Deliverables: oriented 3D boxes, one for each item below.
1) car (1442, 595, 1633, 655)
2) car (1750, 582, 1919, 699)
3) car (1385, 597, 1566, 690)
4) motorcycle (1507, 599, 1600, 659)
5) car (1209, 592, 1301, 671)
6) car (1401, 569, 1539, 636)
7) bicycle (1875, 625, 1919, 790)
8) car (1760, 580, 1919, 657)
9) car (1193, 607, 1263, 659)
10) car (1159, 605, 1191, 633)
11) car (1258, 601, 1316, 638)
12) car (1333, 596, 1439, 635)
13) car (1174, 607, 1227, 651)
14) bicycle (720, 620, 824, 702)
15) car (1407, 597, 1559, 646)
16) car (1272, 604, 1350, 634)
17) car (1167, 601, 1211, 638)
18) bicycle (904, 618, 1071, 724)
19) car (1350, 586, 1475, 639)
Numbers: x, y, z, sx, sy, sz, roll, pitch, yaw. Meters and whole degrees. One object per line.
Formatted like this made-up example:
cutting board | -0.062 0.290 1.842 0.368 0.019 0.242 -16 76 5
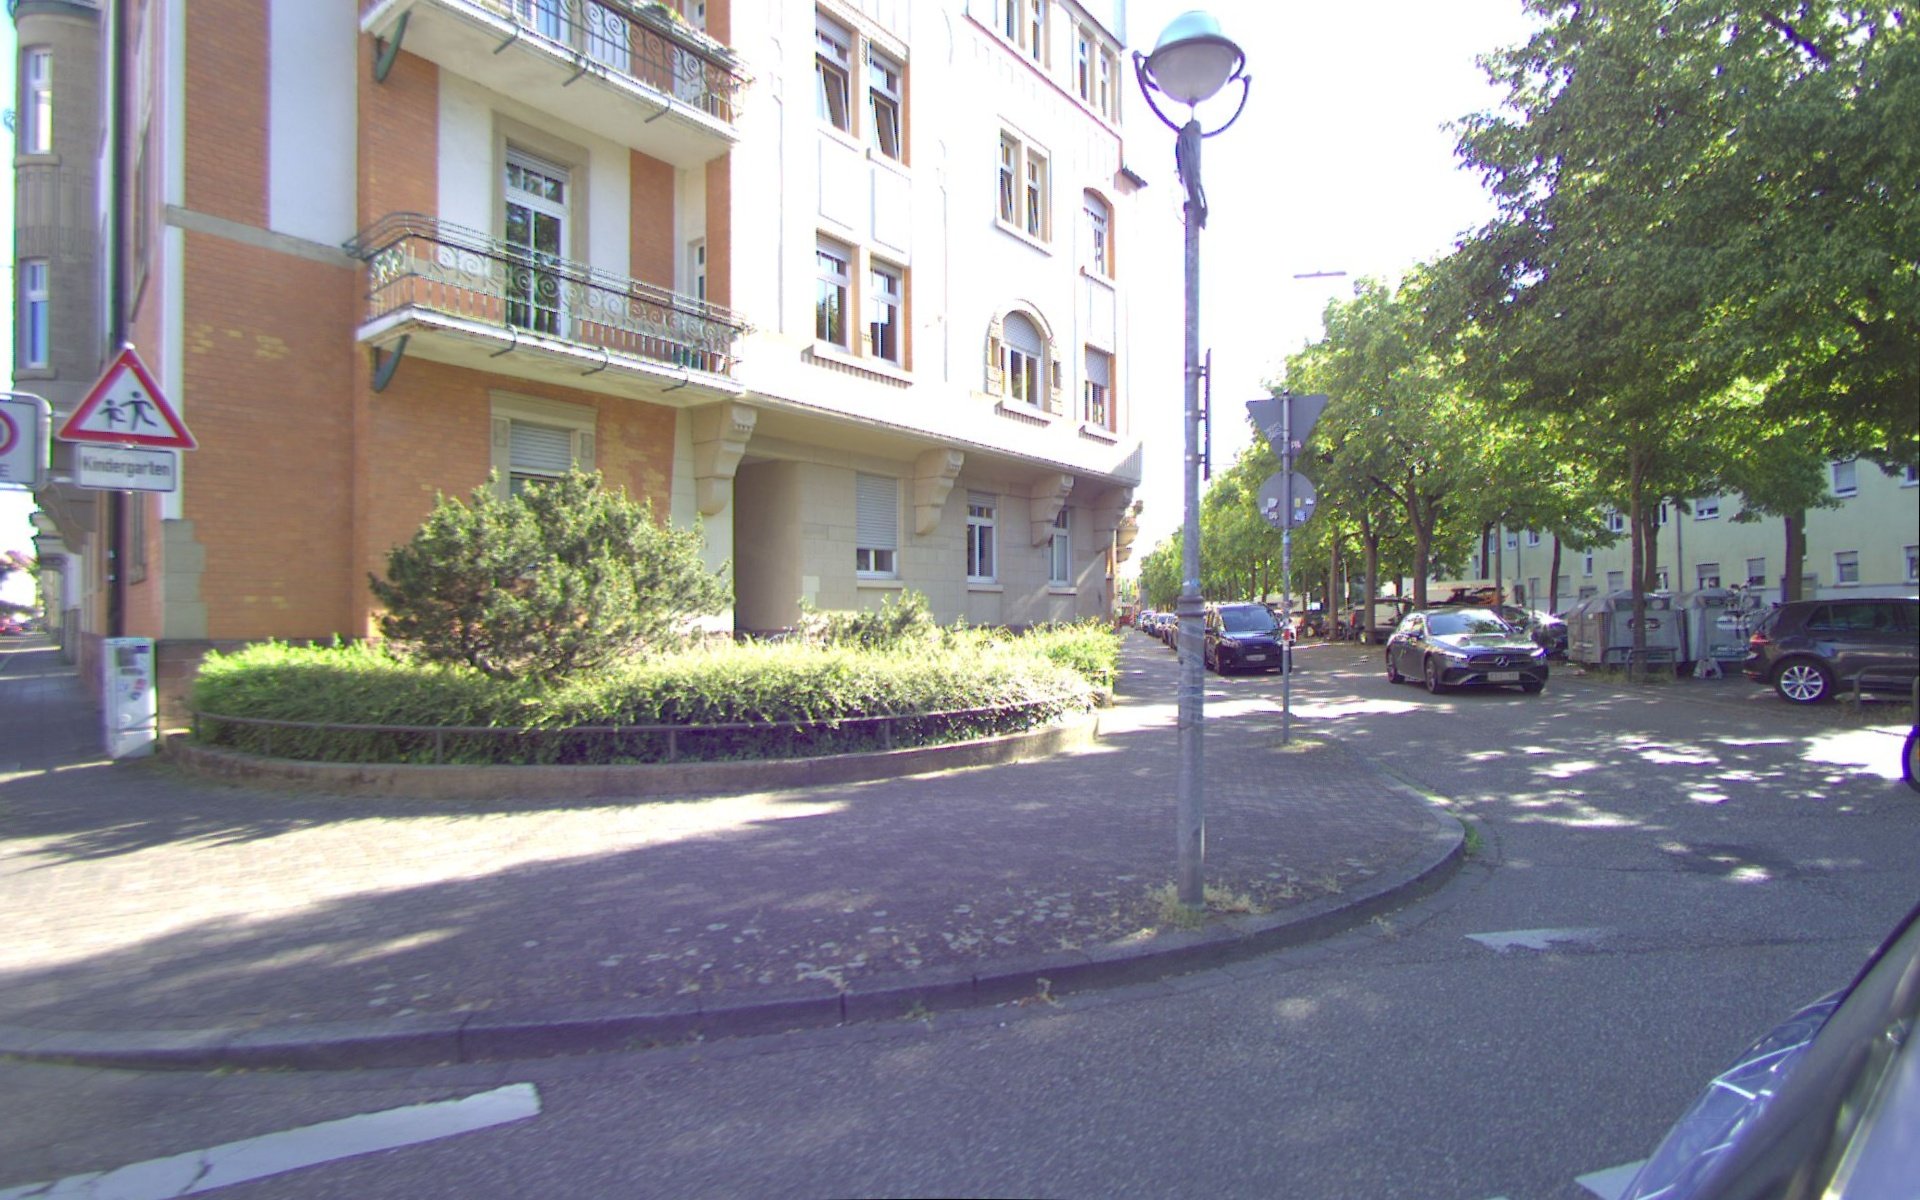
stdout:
car | 15.063 0.626 26.521 1.792 1.459 3.991 1 -1 -42
car | 13.016 0.519 13.215 1.728 1.492 3.994 1 -1 -40
car | 9.160 0.735 18.374 1.770 1.453 4.194 -2 -1 11
motorcycle | 13.724 0.662 23.432 1.763 1.365 0.729 0 -1 -8
car | 7.469 0.782 25.991 1.770 1.790 4.194 -3 -1 11
car | 20.382 0.122 40.584 4.578 2.522 1.955 -1 -1 44
bicycle | 8.051 0.794 7.418 1.838 1.213 0.763 -1 -1 8
car | 23.086 0.490 26.090 1.706 1.649 4.602 7 0 10
car | 8.432 1.018 32.104 1.770 1.472 4.194 -3 -1 11
car | 13.143 1.173 62.081 1.770 1.576 4.194 -3 -1 11
car | 13.686 0.806 42.574 1.770 1.453 4.194 -2 -1 11
car | 19.018 0.692 45.292 1.792 1.654 3.991 1 -1 -42
car | 9.407 1.114 39.819 1.770 1.576 4.194 -3 -1 11
bicycle | -2.699 0.834 14.433 1.666 1.085 0.493 0 -1 39
car | 16.730 0.665 32.505 1.792 1.472 3.991 1 -1 -42
car | 20.423 1.107 58.861 3.972 1.708 1.801 -1 -1 35
car | 10.818 0.907 48.011 1.770 1.576 4.194 -3 -1 11
bicycle | 0.300 0.800 12.007 1.930 1.135 0.680 0 -1 34
car | 17.362 0.490 38.962 1.792 1.923 3.991 1 -1 -42
